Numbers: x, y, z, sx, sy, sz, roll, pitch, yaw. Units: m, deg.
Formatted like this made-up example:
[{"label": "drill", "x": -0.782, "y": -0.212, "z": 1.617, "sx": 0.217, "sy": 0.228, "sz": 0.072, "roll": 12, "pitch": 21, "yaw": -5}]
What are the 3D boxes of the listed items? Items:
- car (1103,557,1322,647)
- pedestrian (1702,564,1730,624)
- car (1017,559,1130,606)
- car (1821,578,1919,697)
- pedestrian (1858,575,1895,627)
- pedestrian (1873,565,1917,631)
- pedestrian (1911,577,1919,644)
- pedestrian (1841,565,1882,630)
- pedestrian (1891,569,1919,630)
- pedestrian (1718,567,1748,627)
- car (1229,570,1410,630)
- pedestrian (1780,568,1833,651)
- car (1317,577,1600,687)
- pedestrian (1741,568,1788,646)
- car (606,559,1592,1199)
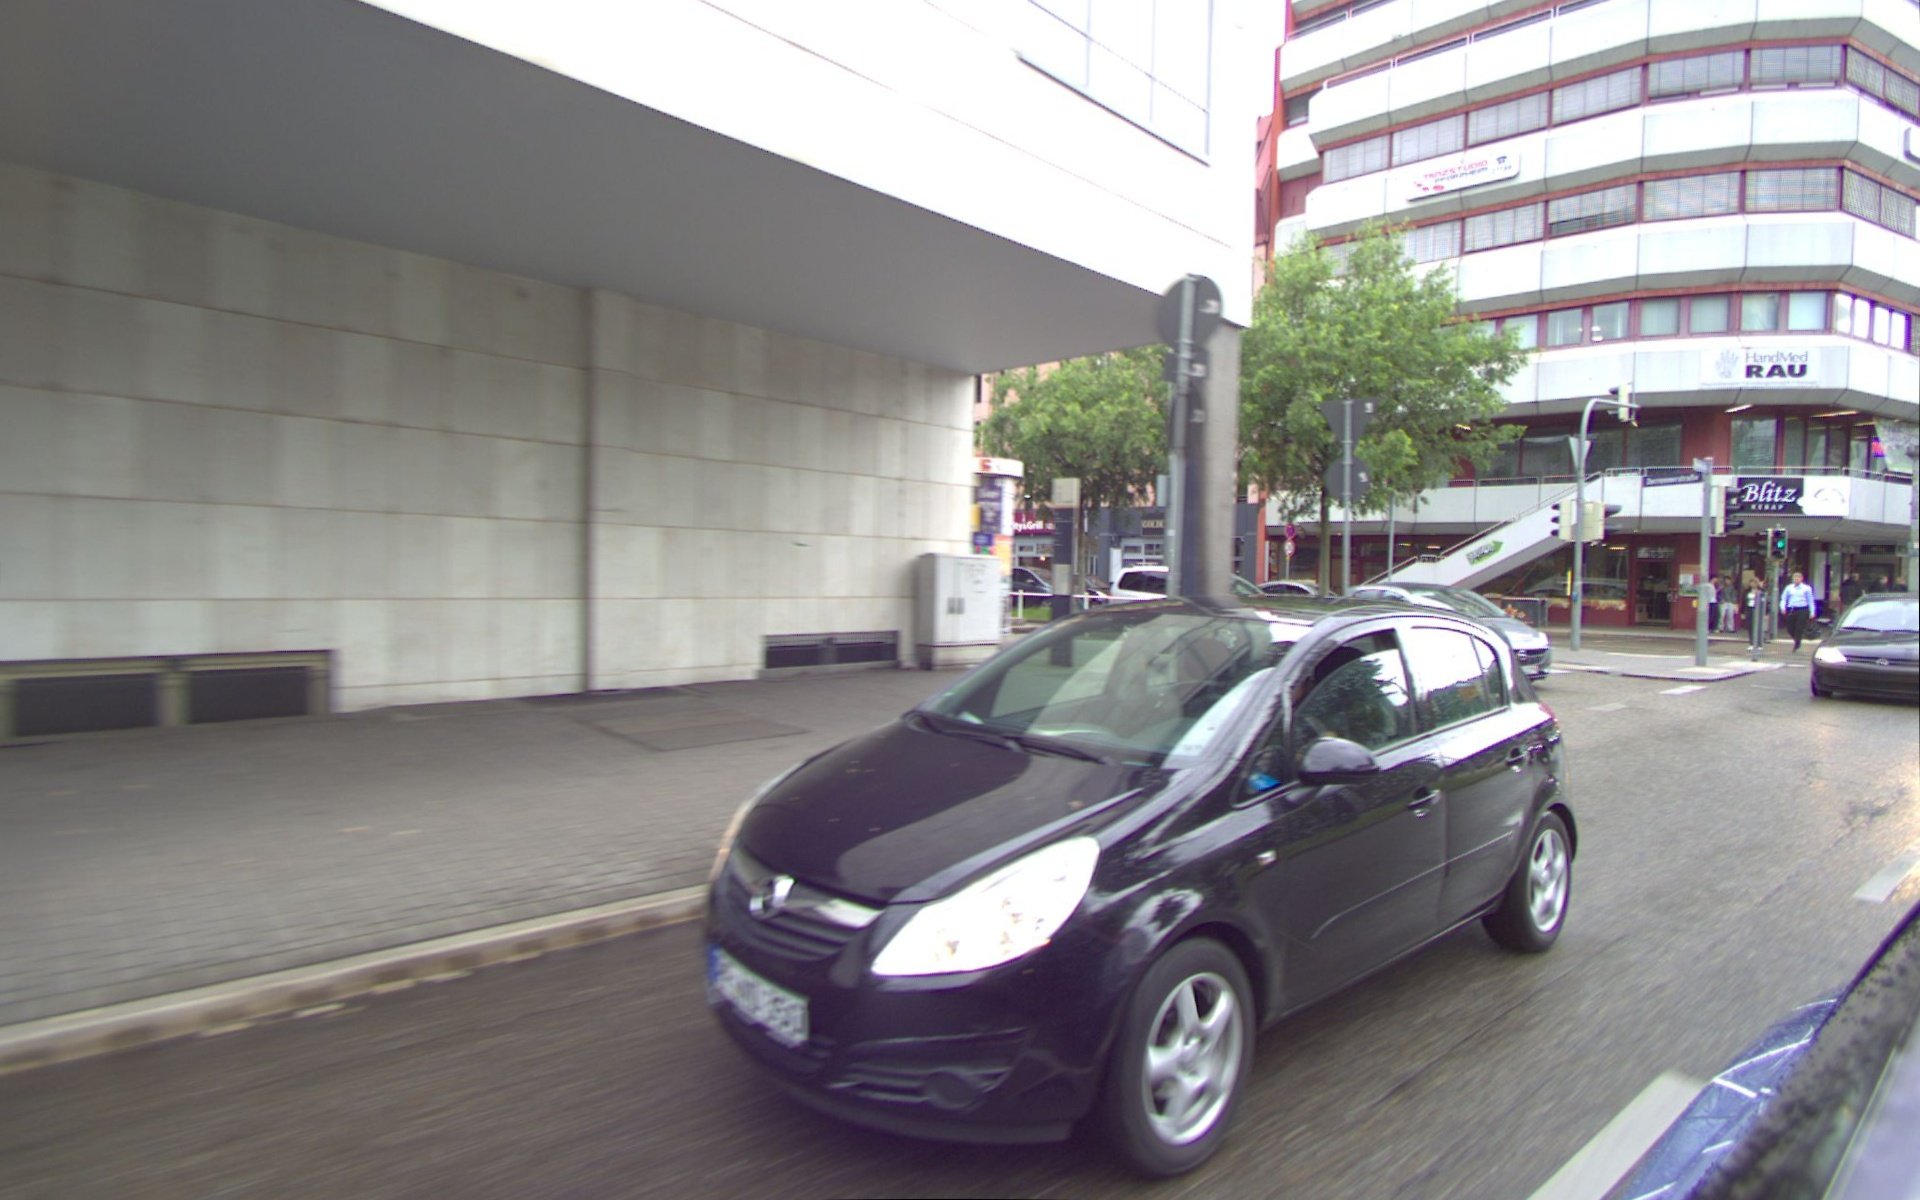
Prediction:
[{"label": "car", "x": 5.548, "y": -0.065, "z": 22.756, "sx": 1.824, "sy": 1.781, "sz": 4.604, "roll": -2, "pitch": 3, "yaw": -40}, {"label": "pedestrian", "x": 22.943, "y": -0.182, "z": 30.713, "sx": 0.520, "sy": 1.784, "sz": 0.509, "roll": -1, "pitch": 2, "yaw": 16}, {"label": "car", "x": 4.216, "y": -0.632, "z": 37.907, "sx": 1.778, "sy": 1.571, "sz": 3.990, "roll": -4, "pitch": 2, "yaw": -43}, {"label": "car", "x": 13.442, "y": 0.454, "z": 14.084, "sx": 3.563, "sy": 1.458, "sz": 1.596, "roll": -2, "pitch": 2, "yaw": -39}, {"label": "pedestrian", "x": 30.478, "y": 0.025, "z": 33.653, "sx": 0.921, "sy": 1.683, "sz": 0.577, "roll": 0, "pitch": 3, "yaw": -29}, {"label": "pedestrian", "x": 27.671, "y": -0.076, "z": 29.953, "sx": 0.774, "sy": 1.924, "sz": 0.761, "roll": -2, "pitch": 3, "yaw": -32}, {"label": "pedestrian", "x": 26.328, "y": 0.303, "z": 27.083, "sx": 0.789, "sy": 1.799, "sz": 0.901, "roll": -2, "pitch": 7, "yaw": -28}, {"label": "pedestrian", "x": 27.204, "y": -0.083, "z": 30.533, "sx": 0.663, "sy": 1.918, "sz": 0.735, "roll": -2, "pitch": 3, "yaw": -32}, {"label": "pedestrian", "x": 28.637, "y": -0.029, "z": 30.449, "sx": 0.871, "sy": 1.801, "sz": 0.751, "roll": -2, "pitch": 2, "yaw": -35}, {"label": "pedestrian", "x": 23.515, "y": -0.101, "z": 30.780, "sx": 0.483, "sy": 1.784, "sz": 0.598, "roll": -2, "pitch": 2, "yaw": -31}, {"label": "car", "x": 9.615, "y": -0.063, "z": 27.321, "sx": 1.758, "sy": 1.437, "sz": 4.264, "roll": -1, "pitch": 2, "yaw": -44}, {"label": "pedestrian", "x": 19.505, "y": 0.197, "z": 23.320, "sx": 0.830, "sy": 1.869, "sz": 0.625, "roll": -2, "pitch": 2, "yaw": -25}, {"label": "car", "x": 7.677, "y": 0.389, "z": 16.080, "sx": 1.958, "sy": 1.495, "sz": 4.008, "roll": -1, "pitch": 1, "yaw": -13}, {"label": "pedestrian", "x": 19.043, "y": 0.146, "z": 23.961, "sx": 0.663, "sy": 1.795, "sz": 0.625, "roll": -2, "pitch": 2, "yaw": -25}, {"label": "car", "x": 0.801, "y": 0.638, "z": 3.807, "sx": 3.678, "sy": 1.475, "sz": 1.710, "roll": -1, "pitch": 1, "yaw": -42}]
